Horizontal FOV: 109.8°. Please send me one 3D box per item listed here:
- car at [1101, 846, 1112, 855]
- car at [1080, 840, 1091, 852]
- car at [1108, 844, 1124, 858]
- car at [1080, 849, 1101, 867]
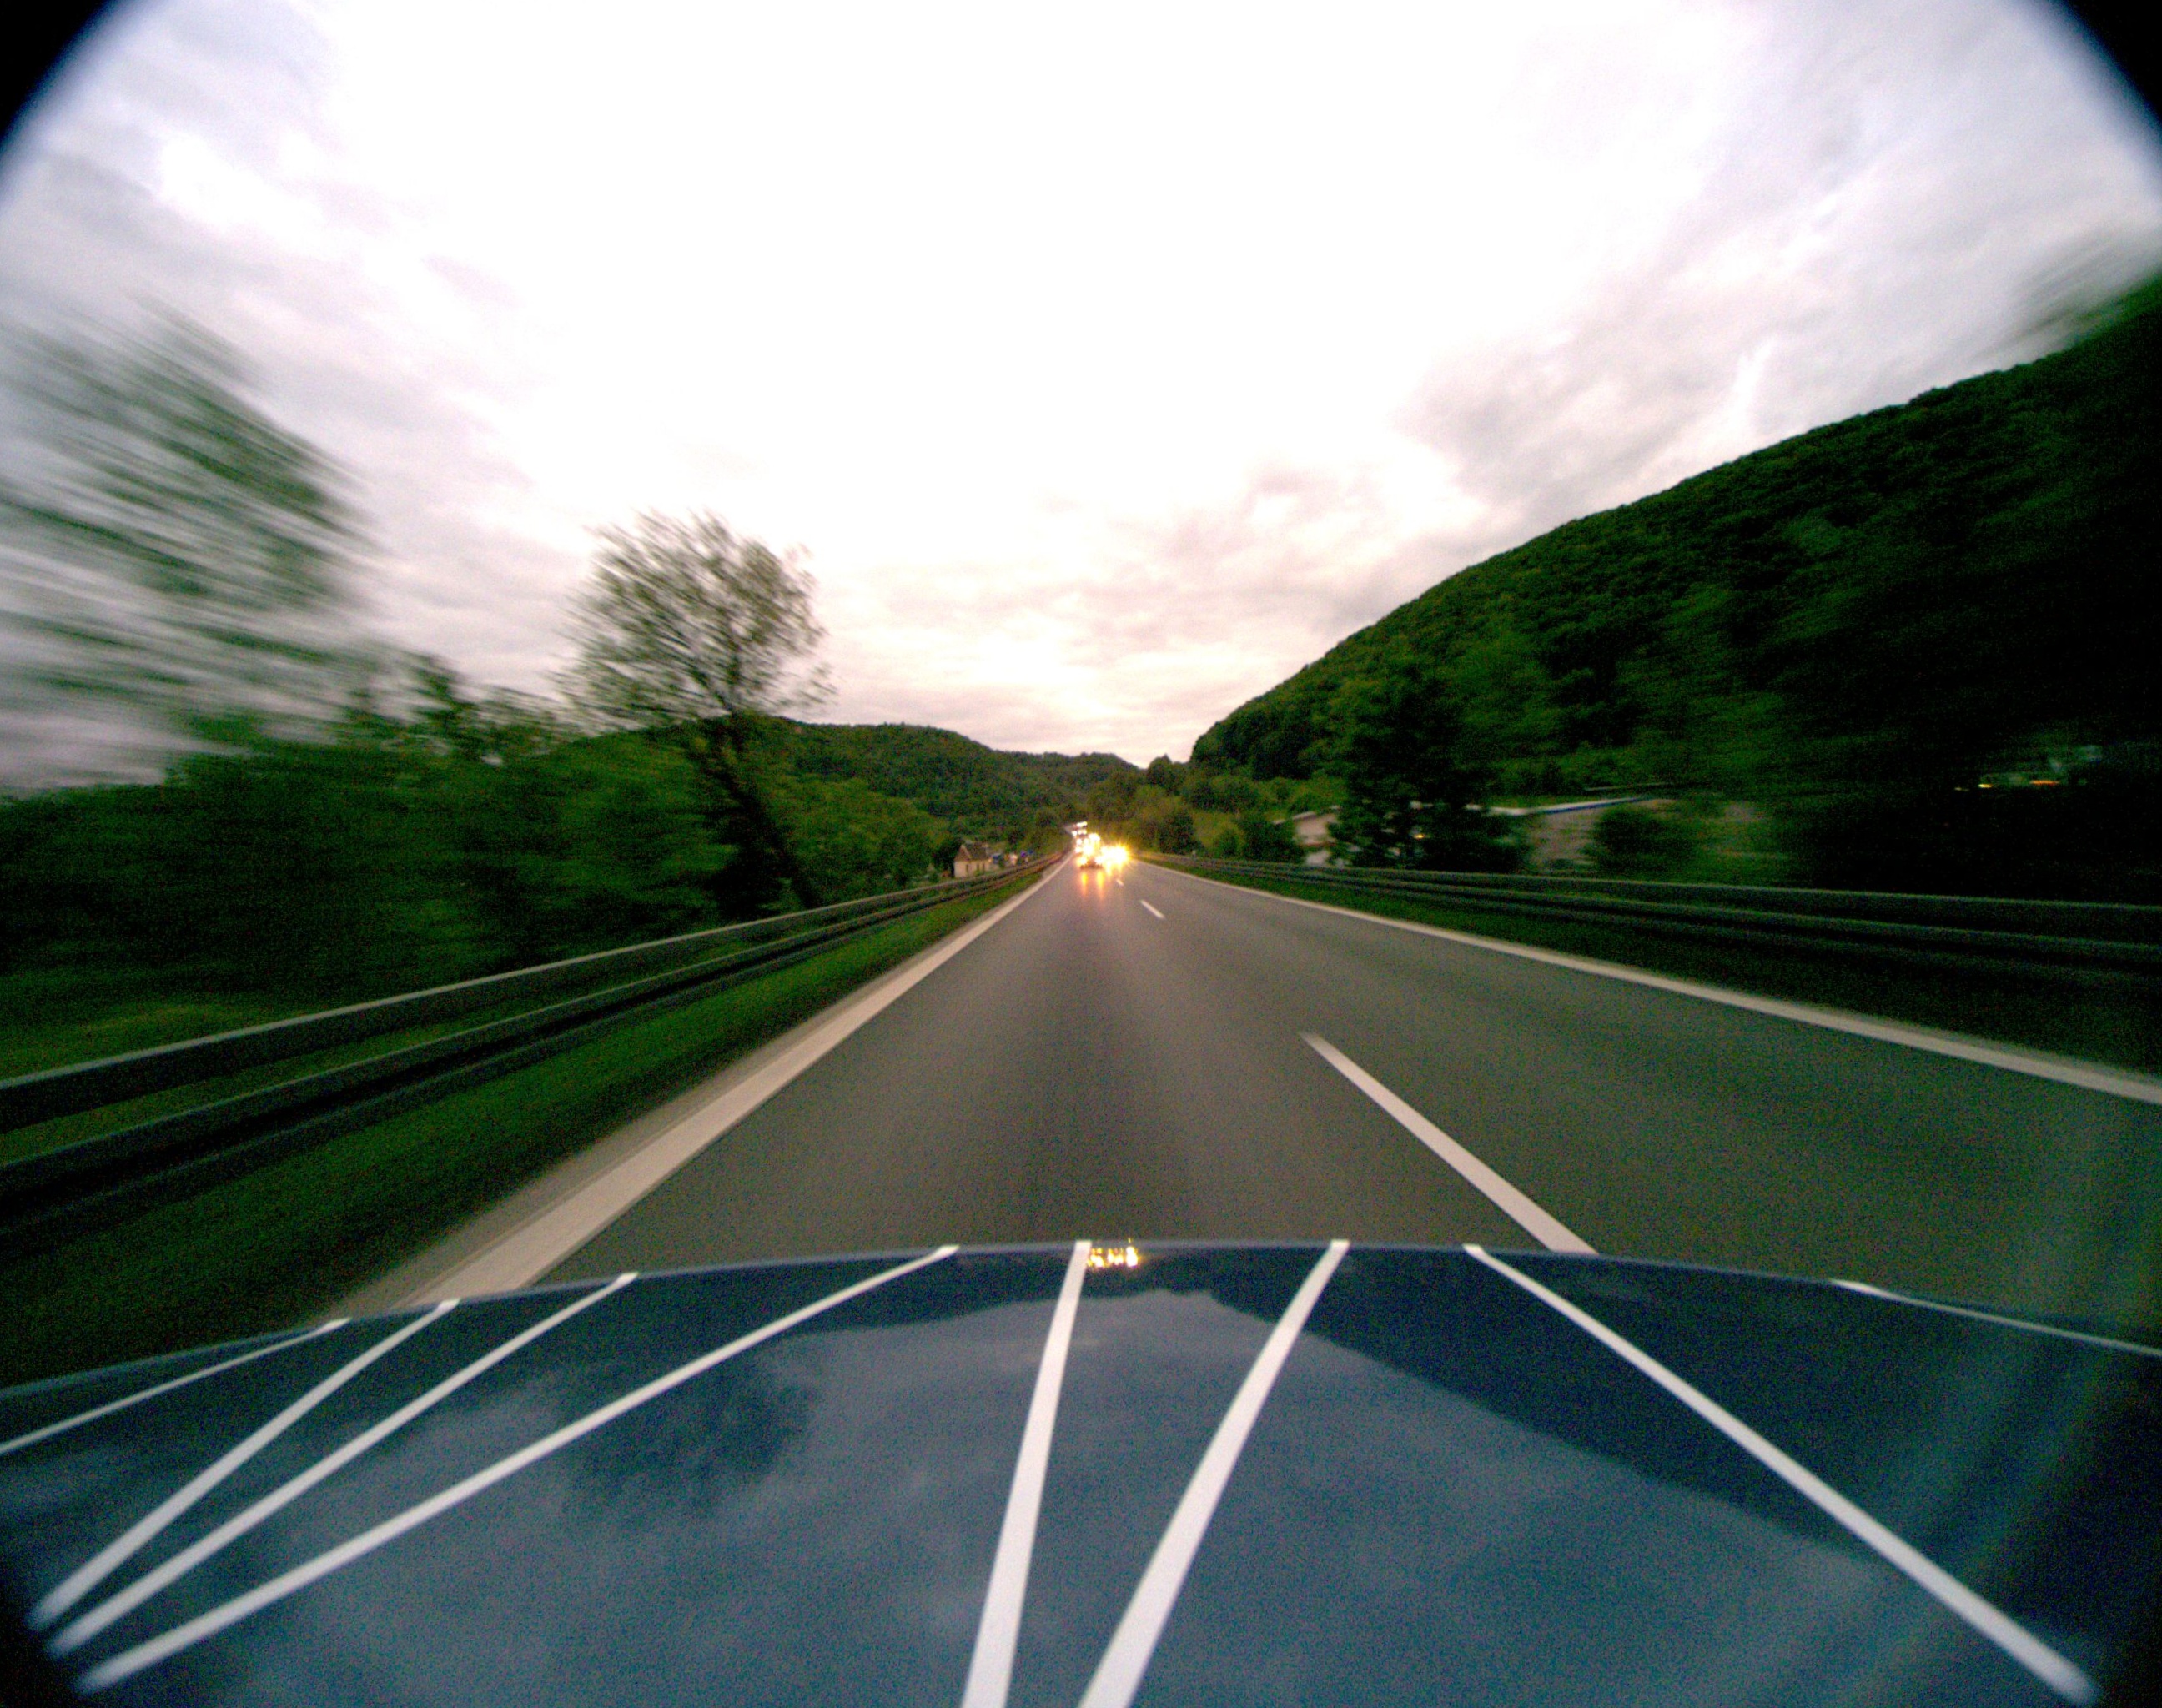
[{"bbox_3d":[4.302,-0.585,127.687,1.690,1.424,3.670,-1,-2,0],"label":"car"},{"bbox_3d":[0.678,-1.292,119.758,1.737,1.641,3.670,-1,-2,0],"label":"car"},{"bbox_3d":[4.238,-0.361,93.178,1.690,1.459,3.768,-1,-2,0],"label":"car"},{"bbox_3d":[0.781,0.361,64.467,1.690,1.443,3.670,-1,-2,0],"label":"car"}]
